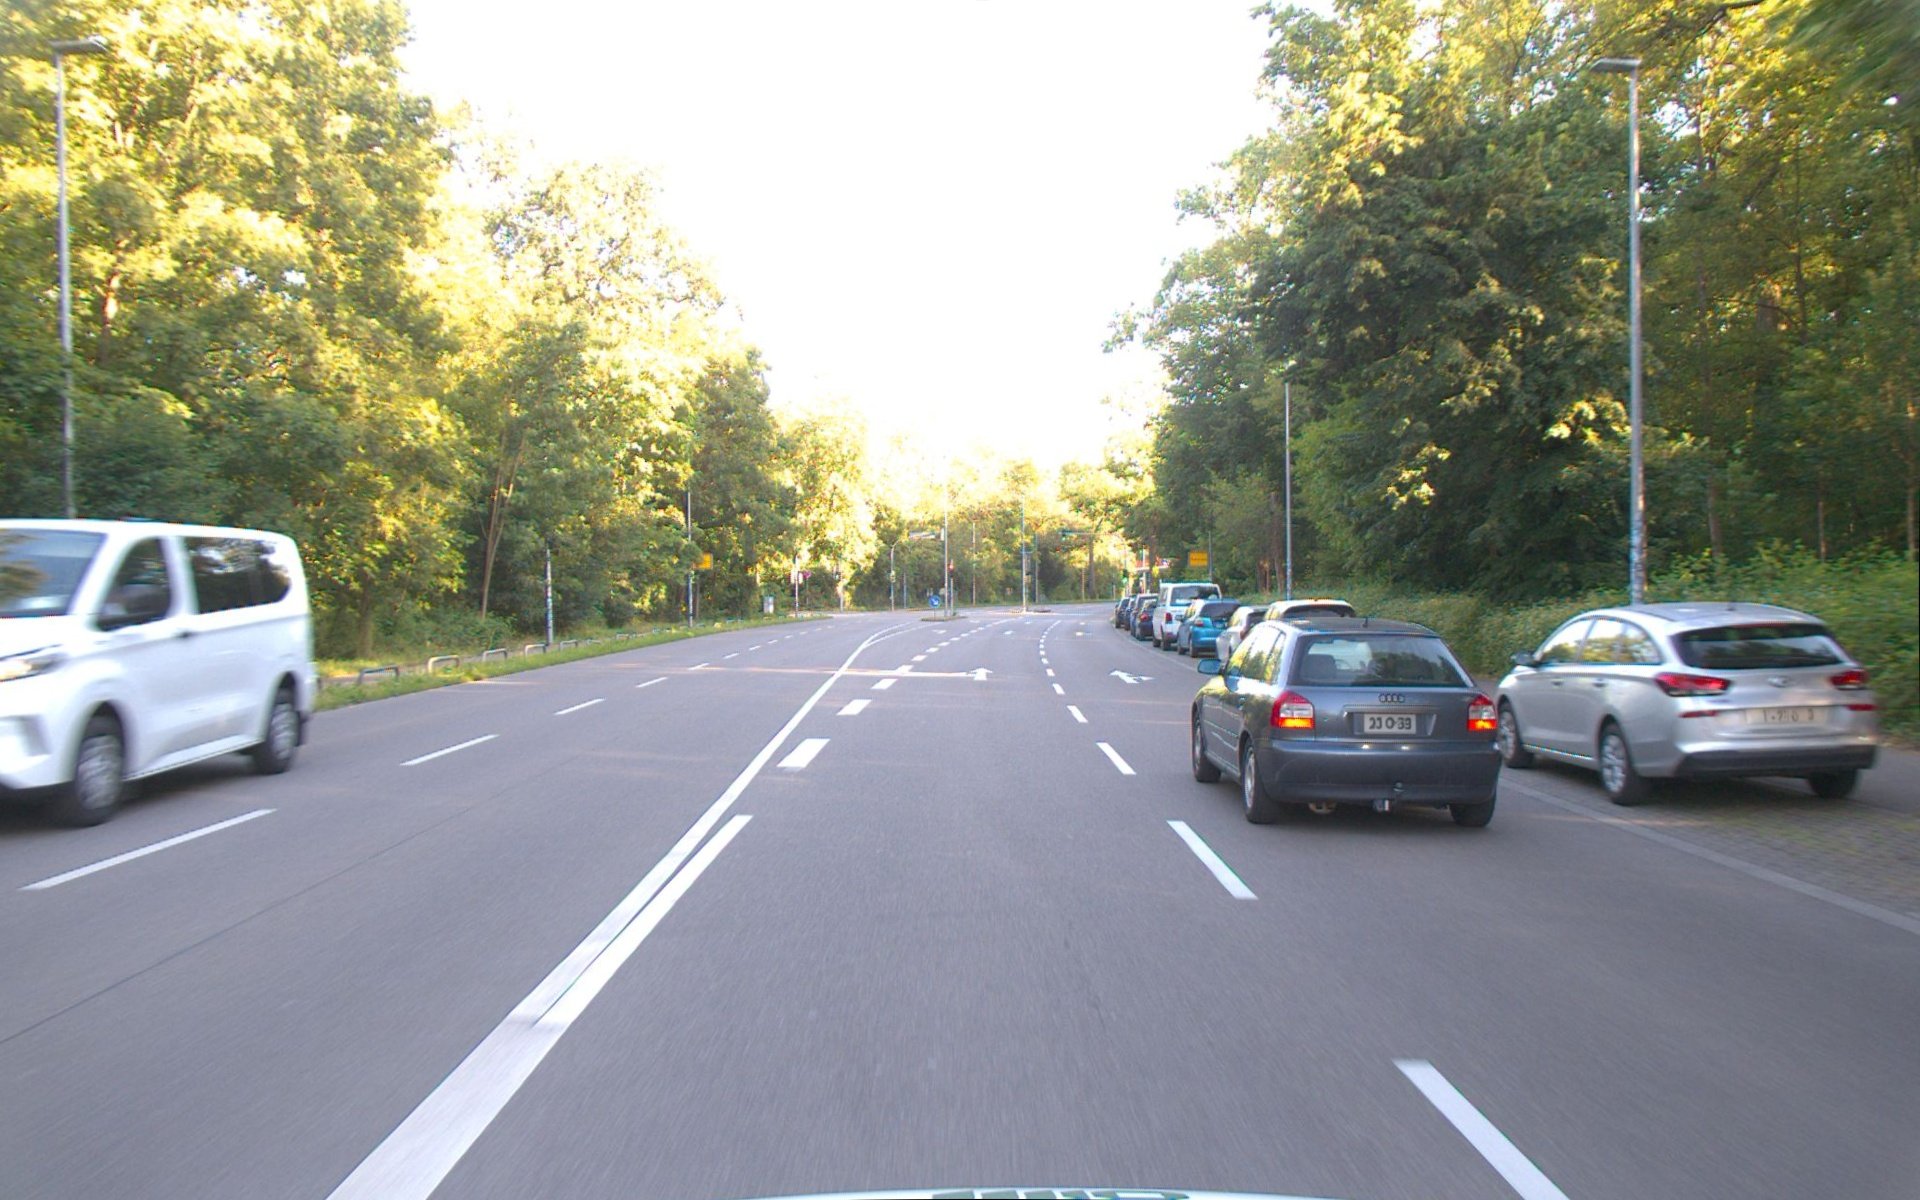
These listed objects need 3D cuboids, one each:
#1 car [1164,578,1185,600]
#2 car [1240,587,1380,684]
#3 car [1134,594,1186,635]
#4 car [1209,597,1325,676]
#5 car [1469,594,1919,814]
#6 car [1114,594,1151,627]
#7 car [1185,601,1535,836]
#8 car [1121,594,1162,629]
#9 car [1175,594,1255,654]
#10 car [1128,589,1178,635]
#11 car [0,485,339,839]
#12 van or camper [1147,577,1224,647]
[{"bbox_3d":[23.841,-1.220,183.662,2.259,2.376,4.563,0,0,8],"label":"car"},{"bbox_3d":[5.931,0.557,28.459,1.692,1.549,4.091,0,0,2],"label":"car"},{"bbox_3d":[7.279,0.509,60.562,1.615,1.467,4.115,0,0,3],"label":"car"},{"bbox_3d":[6.068,0.682,33.059,1.692,1.434,4.091,-1,0,2],"label":"car"},{"bbox_3d":[5.830,0.716,13.826,1.692,1.466,4.666,-2,0,0],"label":"car"},{"bbox_3d":[8.542,0.500,82.142,1.691,1.487,4.169,-2,0,4],"label":"car"},{"bbox_3d":[2.834,0.758,12.622,1.692,1.467,4.090,0,0,0],"label":"car"},{"bbox_3d":[8.370,0.507,76.469,1.691,1.516,4.092,-2,0,4],"label":"car"},{"bbox_3d":[6.816,0.612,44.566,1.614,1.549,3.867,0,0,1],"label":"car"},{"bbox_3d":[7.661,0.454,65.981,1.691,1.734,4.091,-2,0,3],"label":"car"},{"bbox_3d":[-6.331,0.356,11.938,1.953,2.027,4.995,1,0,-2],"label":"car"},{"bbox_3d":[6.862,0.338,50.837,1.794,2.005,5.343,0,0,2],"label":"van or camper"}]
